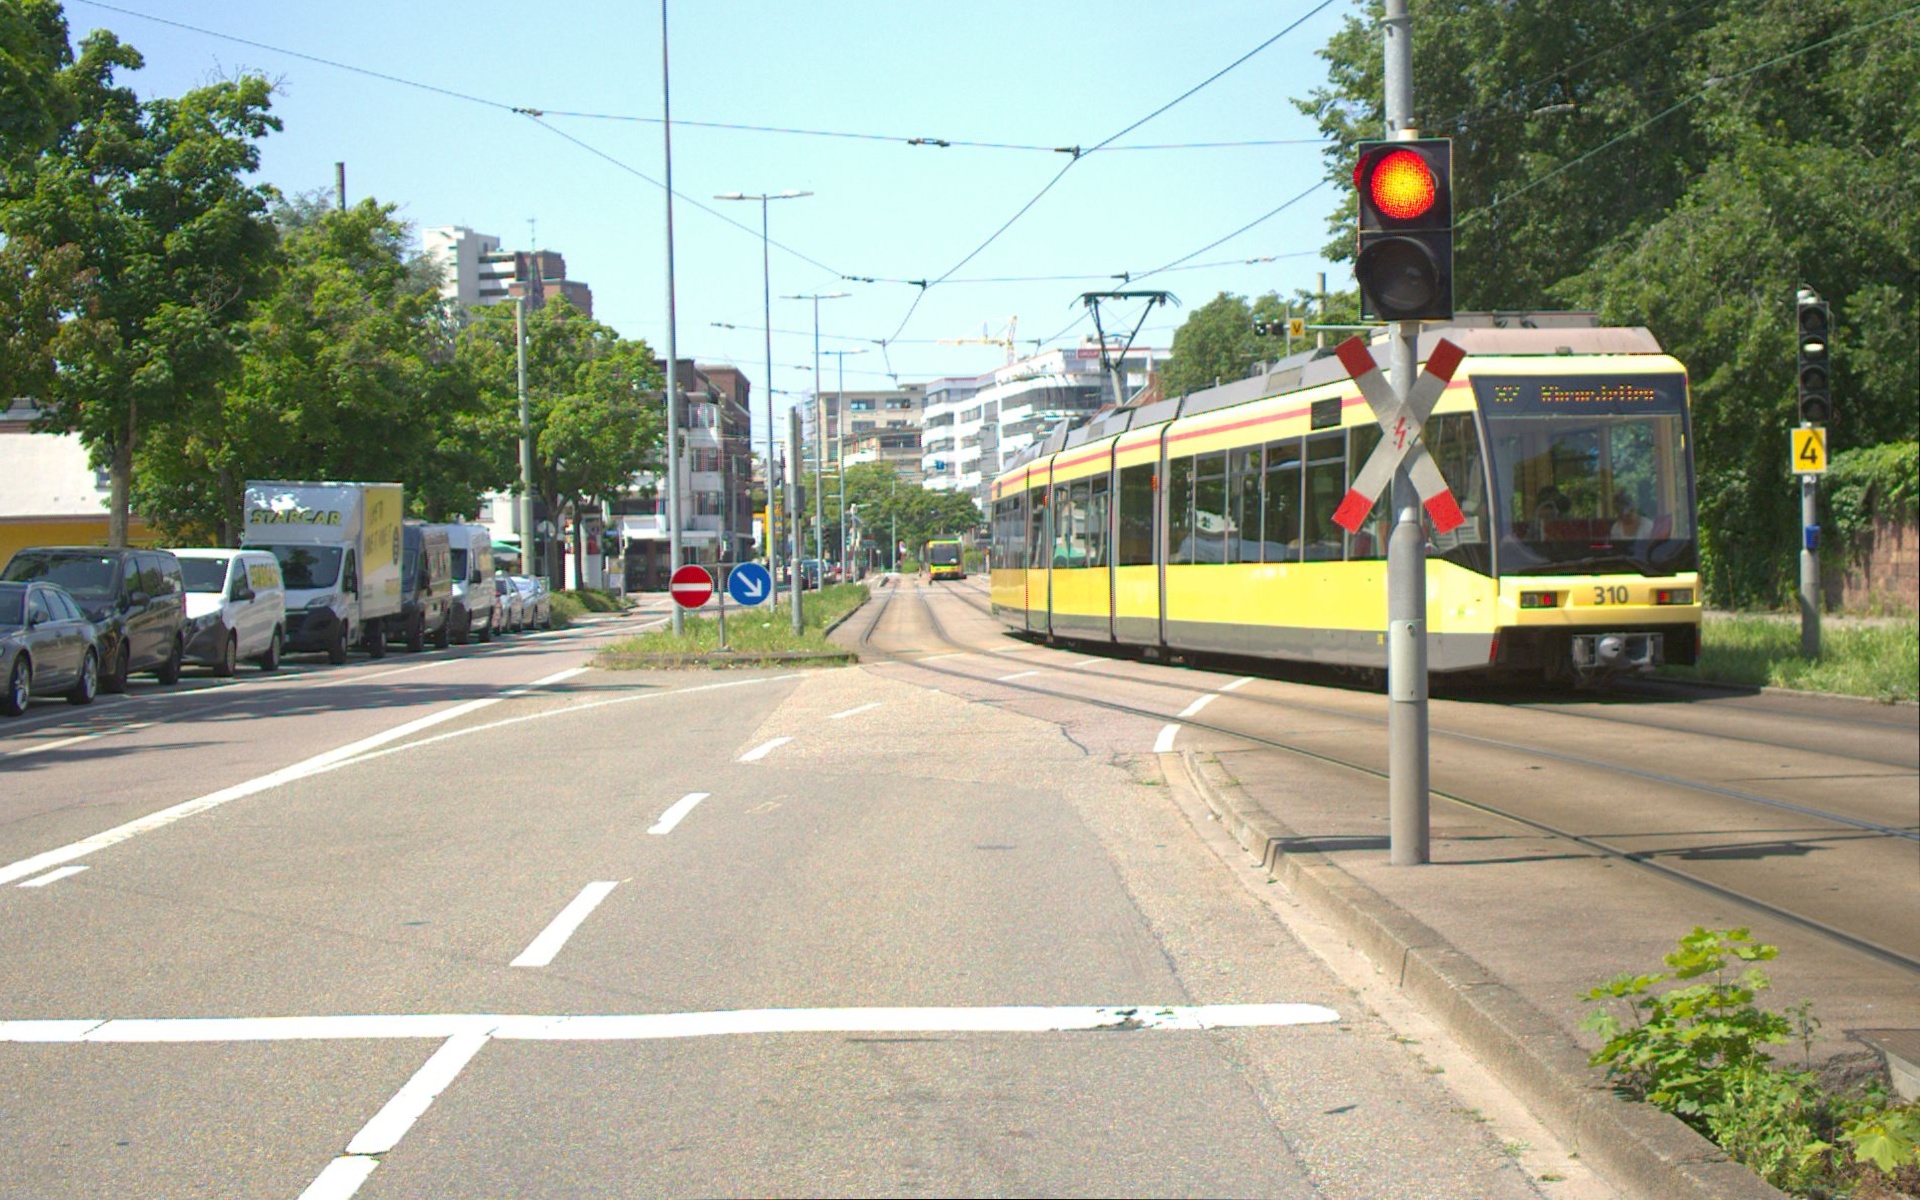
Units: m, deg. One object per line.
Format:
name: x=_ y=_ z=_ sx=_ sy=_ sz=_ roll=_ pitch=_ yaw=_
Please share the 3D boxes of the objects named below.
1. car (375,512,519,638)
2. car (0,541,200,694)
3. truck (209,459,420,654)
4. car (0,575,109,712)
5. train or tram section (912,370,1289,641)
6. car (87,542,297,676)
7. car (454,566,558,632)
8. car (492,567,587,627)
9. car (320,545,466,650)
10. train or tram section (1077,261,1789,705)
car: x=-11.364 y=-0.583 z=76.521 sx=2.157 sy=2.630 sz=5.611 roll=2 pitch=1 yaw=2
car: x=-11.548 y=0.191 z=45.794 sx=1.868 sy=1.888 sz=4.271 roll=-2 pitch=1 yaw=0
truck: x=-11.352 y=-0.784 z=61.042 sx=2.157 sy=3.199 sz=7.082 roll=2 pitch=1 yaw=2
car: x=-11.186 y=0.481 z=39.162 sx=1.868 sy=1.432 sz=4.343 roll=-2 pitch=1 yaw=0
train or tram section: x=1.785 y=-1.472 z=56.872 sx=2.943 sy=3.679 sz=20.288 roll=-1 pitch=1 yaw=-7
car: x=-11.634 y=0.096 z=52.403 sx=2.061 sy=1.891 sz=4.871 roll=-2 pitch=1 yaw=0
car: x=-11.832 y=-0.048 z=89.904 sx=2.061 sy=1.576 sz=4.871 roll=-2 pitch=1 yaw=0
car: x=-11.857 y=-0.109 z=97.316 sx=2.061 sy=1.576 sz=4.871 roll=-2 pitch=1 yaw=0
car: x=-11.235 y=-0.088 z=68.425 sx=2.061 sy=1.970 sz=4.871 roll=-2 pitch=1 yaw=0
train or tram section: x=4.278 y=-1.148 z=37.804 sx=2.943 sy=3.679 sz=18.394 roll=-1 pitch=1 yaw=-8
